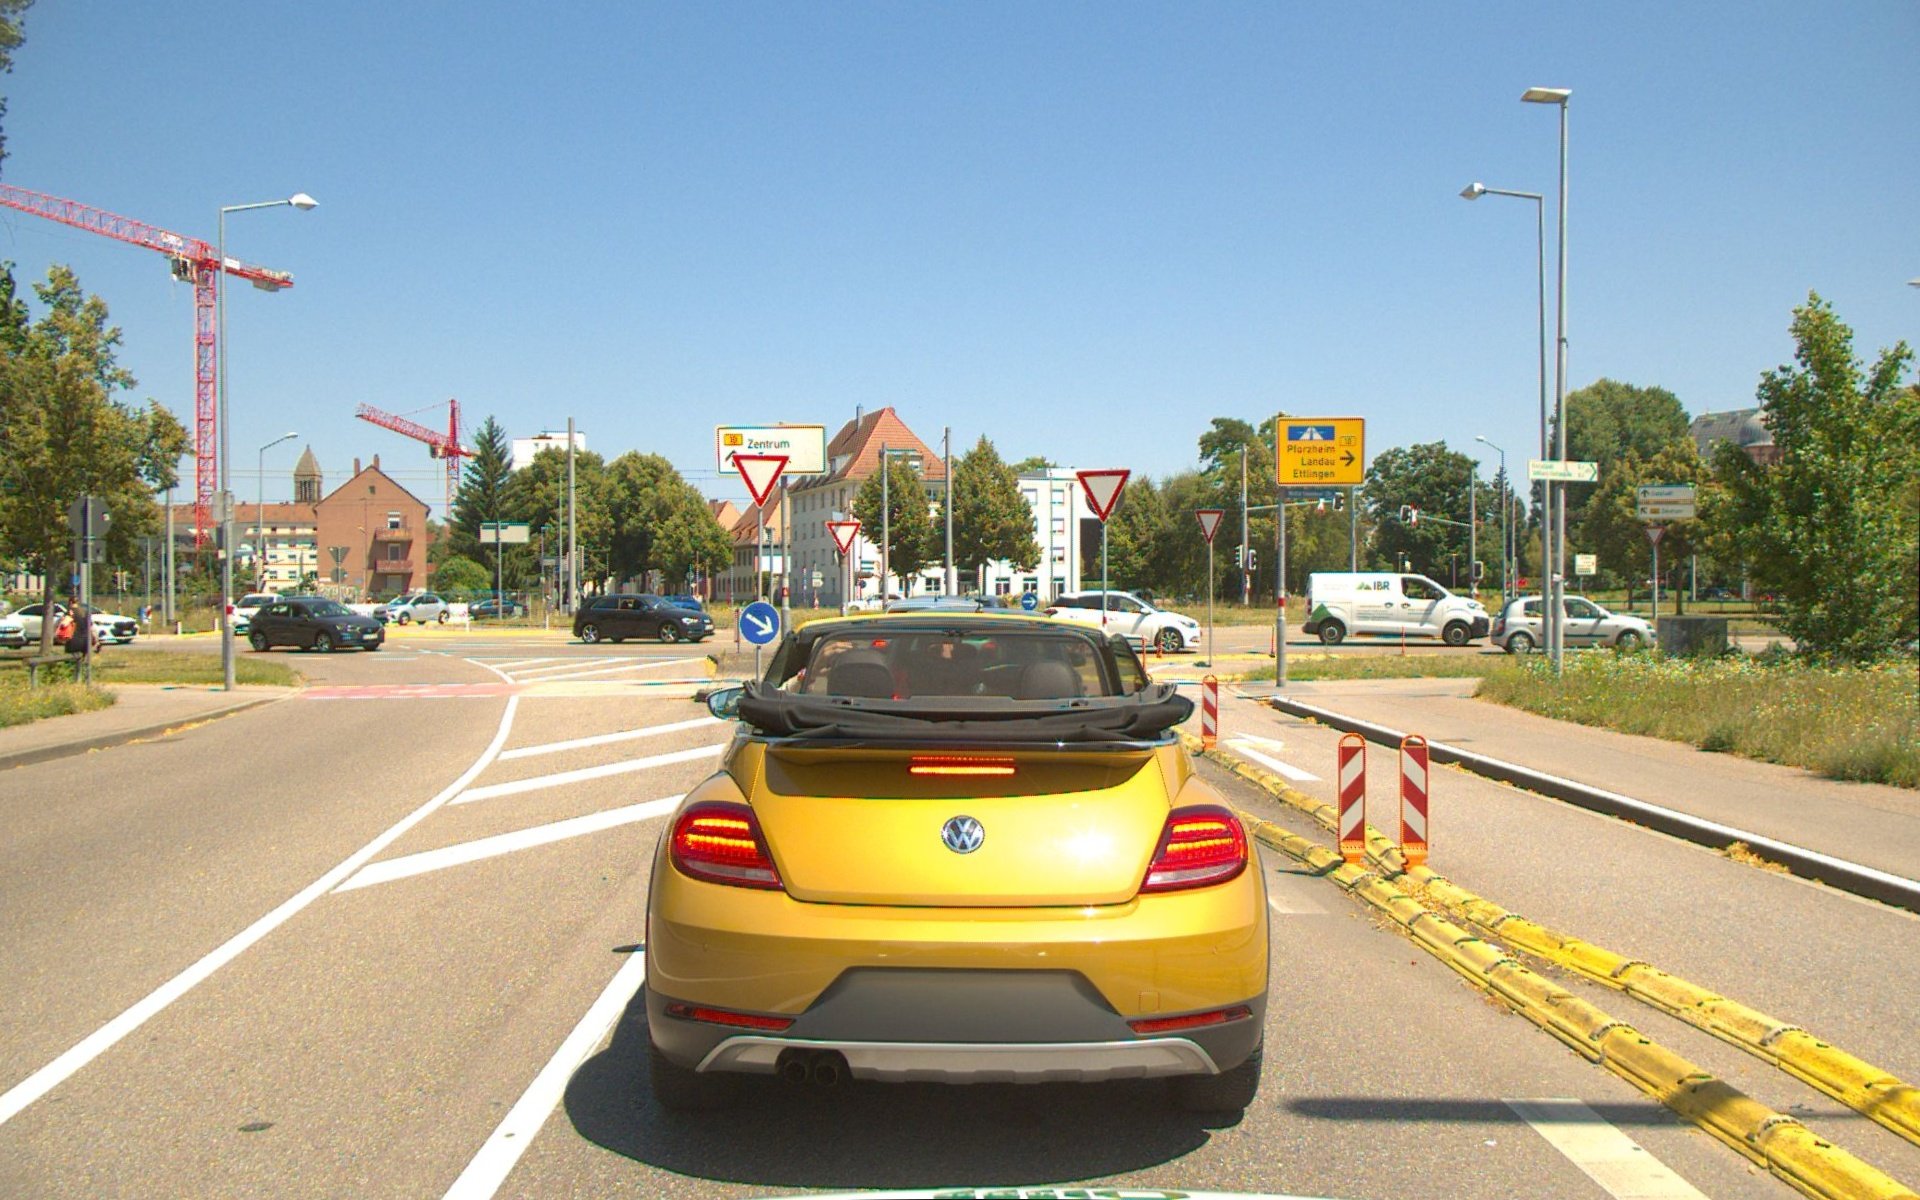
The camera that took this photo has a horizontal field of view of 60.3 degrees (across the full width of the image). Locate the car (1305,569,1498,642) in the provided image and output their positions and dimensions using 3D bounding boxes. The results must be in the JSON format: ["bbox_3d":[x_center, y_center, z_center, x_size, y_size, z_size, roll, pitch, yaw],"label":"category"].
[{"bbox_3d":[11.718,0.144,44.251,4.864,1.882,2.002,0,0,11],"label":"car"}]

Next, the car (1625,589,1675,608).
[{"bbox_3d":[63.748,-0.147,152.780,3.923,1.744,1.991,0,0,-17],"label":"car"}]

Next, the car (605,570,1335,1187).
[{"bbox_3d":[-0.004,0.657,5.793,1.717,1.447,3.776,0,0,-1],"label":"car"}]

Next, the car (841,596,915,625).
[{"bbox_3d":[-5.278,0.671,106.777,4.585,1.860,1.995,0,0,-10],"label":"car"}]

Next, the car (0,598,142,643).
[{"bbox_3d":[-31.815,0.708,58.861,4.887,1.536,2.001,0,0,19],"label":"car"}]

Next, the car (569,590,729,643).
[{"bbox_3d":[-9.018,0.454,48.059,4.098,1.467,2.001,0,0,16],"label":"car"}]

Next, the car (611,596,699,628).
[{"bbox_3d":[-18.502,0.711,100.428,4.867,1.817,2.005,-1,0,-32],"label":"car"}]

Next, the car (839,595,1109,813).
[{"bbox_3d":[0.068,0.702,13.147,1.810,1.467,3.999,0,0,-1],"label":"car"}]

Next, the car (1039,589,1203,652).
[{"bbox_3d":[3.985,0.487,40.648,3.922,1.470,1.634,0,0,8],"label":"car"}]

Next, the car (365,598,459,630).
[{"bbox_3d":[-26.425,0.665,79.834,1.676,1.526,4.210,0,0,32],"label":"car"}]

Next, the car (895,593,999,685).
[{"bbox_3d":[-0.233,0.647,29.237,1.701,1.503,3.999,0,0,-1],"label":"car"}]

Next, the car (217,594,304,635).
[{"bbox_3d":[-27.406,0.556,64.939,1.720,1.576,3.999,0,0,-1],"label":"car"}]

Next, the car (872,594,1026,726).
[{"bbox_3d":[-0.150,0.666,20.386,1.701,1.467,3.999,0,0,-1],"label":"car"}]

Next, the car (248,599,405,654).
[{"bbox_3d":[-17.881,0.726,46.651,4.126,1.467,1.996,0,0,30],"label":"car"}]

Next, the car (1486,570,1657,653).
[{"bbox_3d":[14.395,0.255,39.105,3.587,1.882,1.634,0,0,11],"label":"car"}]

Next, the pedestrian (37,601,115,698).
[{"bbox_3d":[-14.764,0.810,27.636,0.858,1.590,0.809,0,0,30],"label":"pedestrian"}]

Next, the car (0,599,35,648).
[{"bbox_3d":[-33.197,0.773,55.162,4.487,1.593,1.997,0,0,28],"label":"car"}]

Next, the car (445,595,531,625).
[{"bbox_3d":[-26.884,0.574,94.204,4.361,1.597,2.005,-1,0,-31],"label":"car"}]
